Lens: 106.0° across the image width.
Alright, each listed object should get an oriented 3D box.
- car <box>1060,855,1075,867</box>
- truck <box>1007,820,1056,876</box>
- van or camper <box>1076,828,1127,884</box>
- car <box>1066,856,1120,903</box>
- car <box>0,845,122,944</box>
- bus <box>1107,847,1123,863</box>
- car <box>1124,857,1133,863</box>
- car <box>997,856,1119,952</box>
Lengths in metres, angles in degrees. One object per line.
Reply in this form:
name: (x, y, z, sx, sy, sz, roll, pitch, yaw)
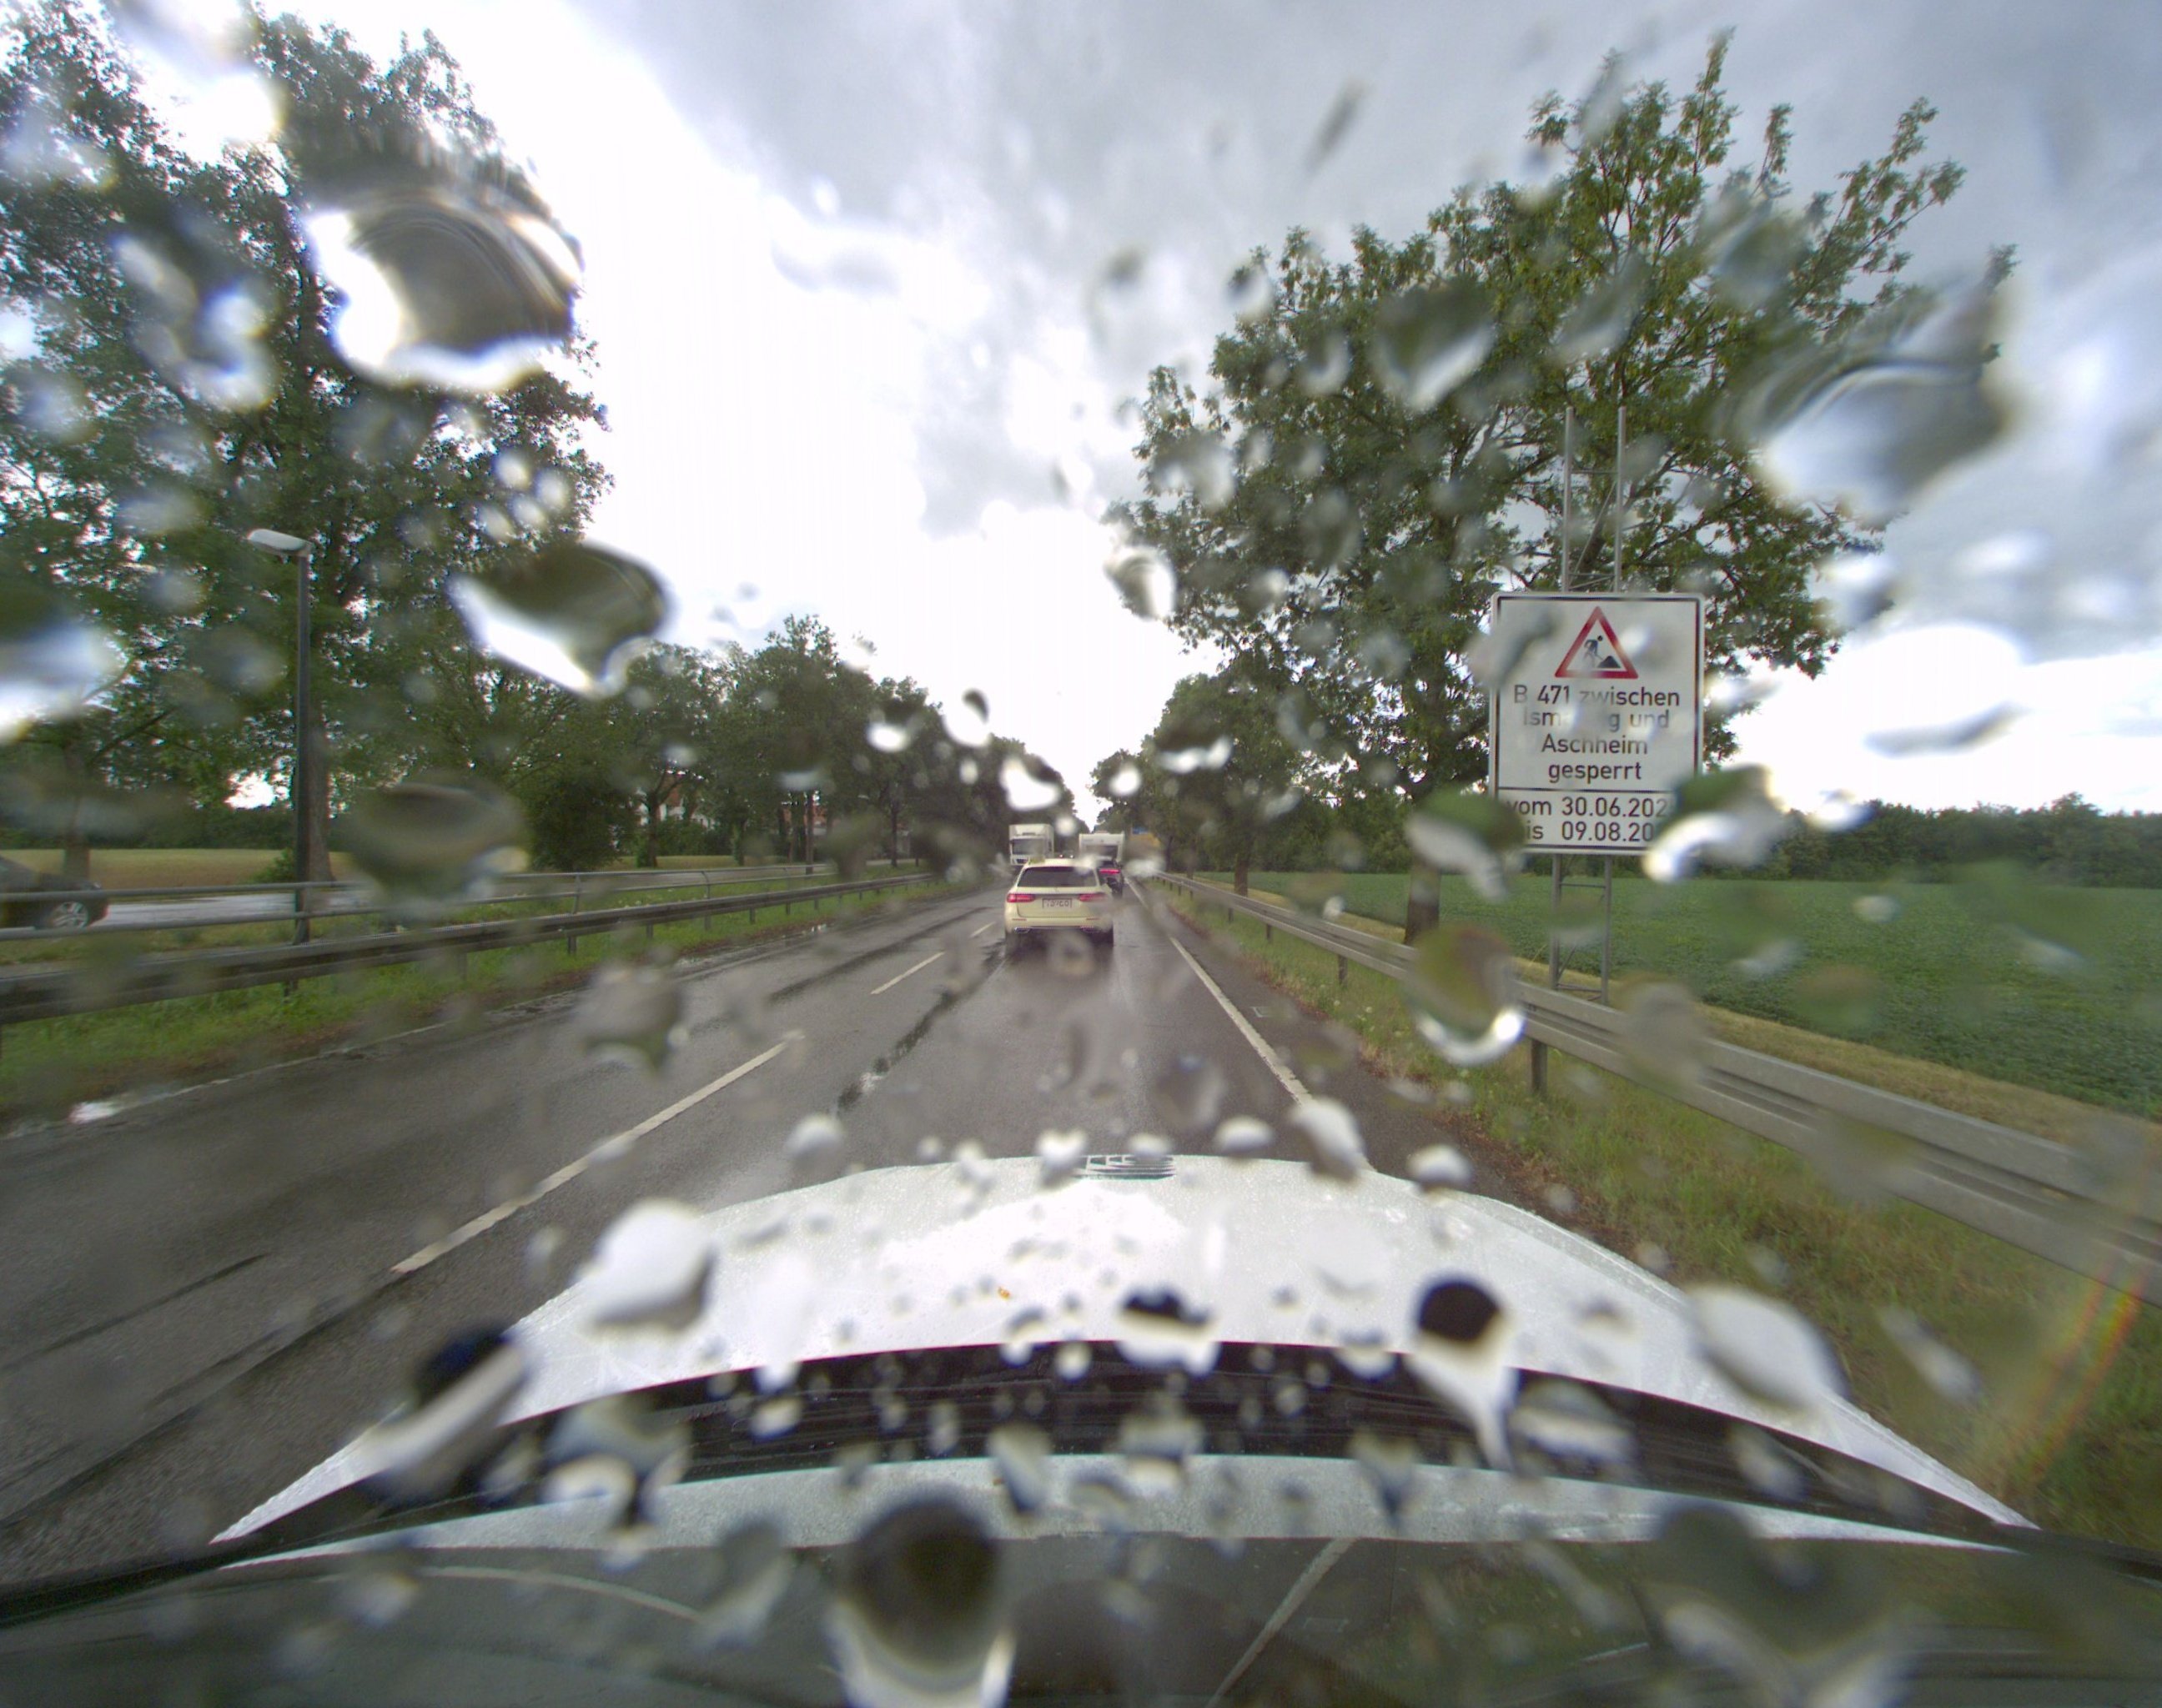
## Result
car: (-1.749, 0.856, 105.466, 1.708, 1.451, 4.112, 0, 0, 1)
truck: (-3.192, -0.382, 55.021, 2.567, 3.452, 9.556, -1, 0, 1)
van or camper: (1.132, 0.099, 42.205, 2.479, 2.685, 5.704, 0, 0, 3)
car: (0.467, 0.798, 27.292, 1.657, 1.430, 4.003, -1, 0, 3)
car: (-15.472, 0.555, 10.663, 1.279, 1.331, 3.895, 2, 0, -2)
bus: (4.453, 0.099, 106.985, 1.986, 2.013, 4.001, -1, 0, 1)
car: (8.167, 1.016, 140.145, 1.545, 1.118, 4.003, 0, 0, 3)
car: (-0.267, 0.788, 14.699, 1.857, 1.476, 4.003, -1, 0, 3)
